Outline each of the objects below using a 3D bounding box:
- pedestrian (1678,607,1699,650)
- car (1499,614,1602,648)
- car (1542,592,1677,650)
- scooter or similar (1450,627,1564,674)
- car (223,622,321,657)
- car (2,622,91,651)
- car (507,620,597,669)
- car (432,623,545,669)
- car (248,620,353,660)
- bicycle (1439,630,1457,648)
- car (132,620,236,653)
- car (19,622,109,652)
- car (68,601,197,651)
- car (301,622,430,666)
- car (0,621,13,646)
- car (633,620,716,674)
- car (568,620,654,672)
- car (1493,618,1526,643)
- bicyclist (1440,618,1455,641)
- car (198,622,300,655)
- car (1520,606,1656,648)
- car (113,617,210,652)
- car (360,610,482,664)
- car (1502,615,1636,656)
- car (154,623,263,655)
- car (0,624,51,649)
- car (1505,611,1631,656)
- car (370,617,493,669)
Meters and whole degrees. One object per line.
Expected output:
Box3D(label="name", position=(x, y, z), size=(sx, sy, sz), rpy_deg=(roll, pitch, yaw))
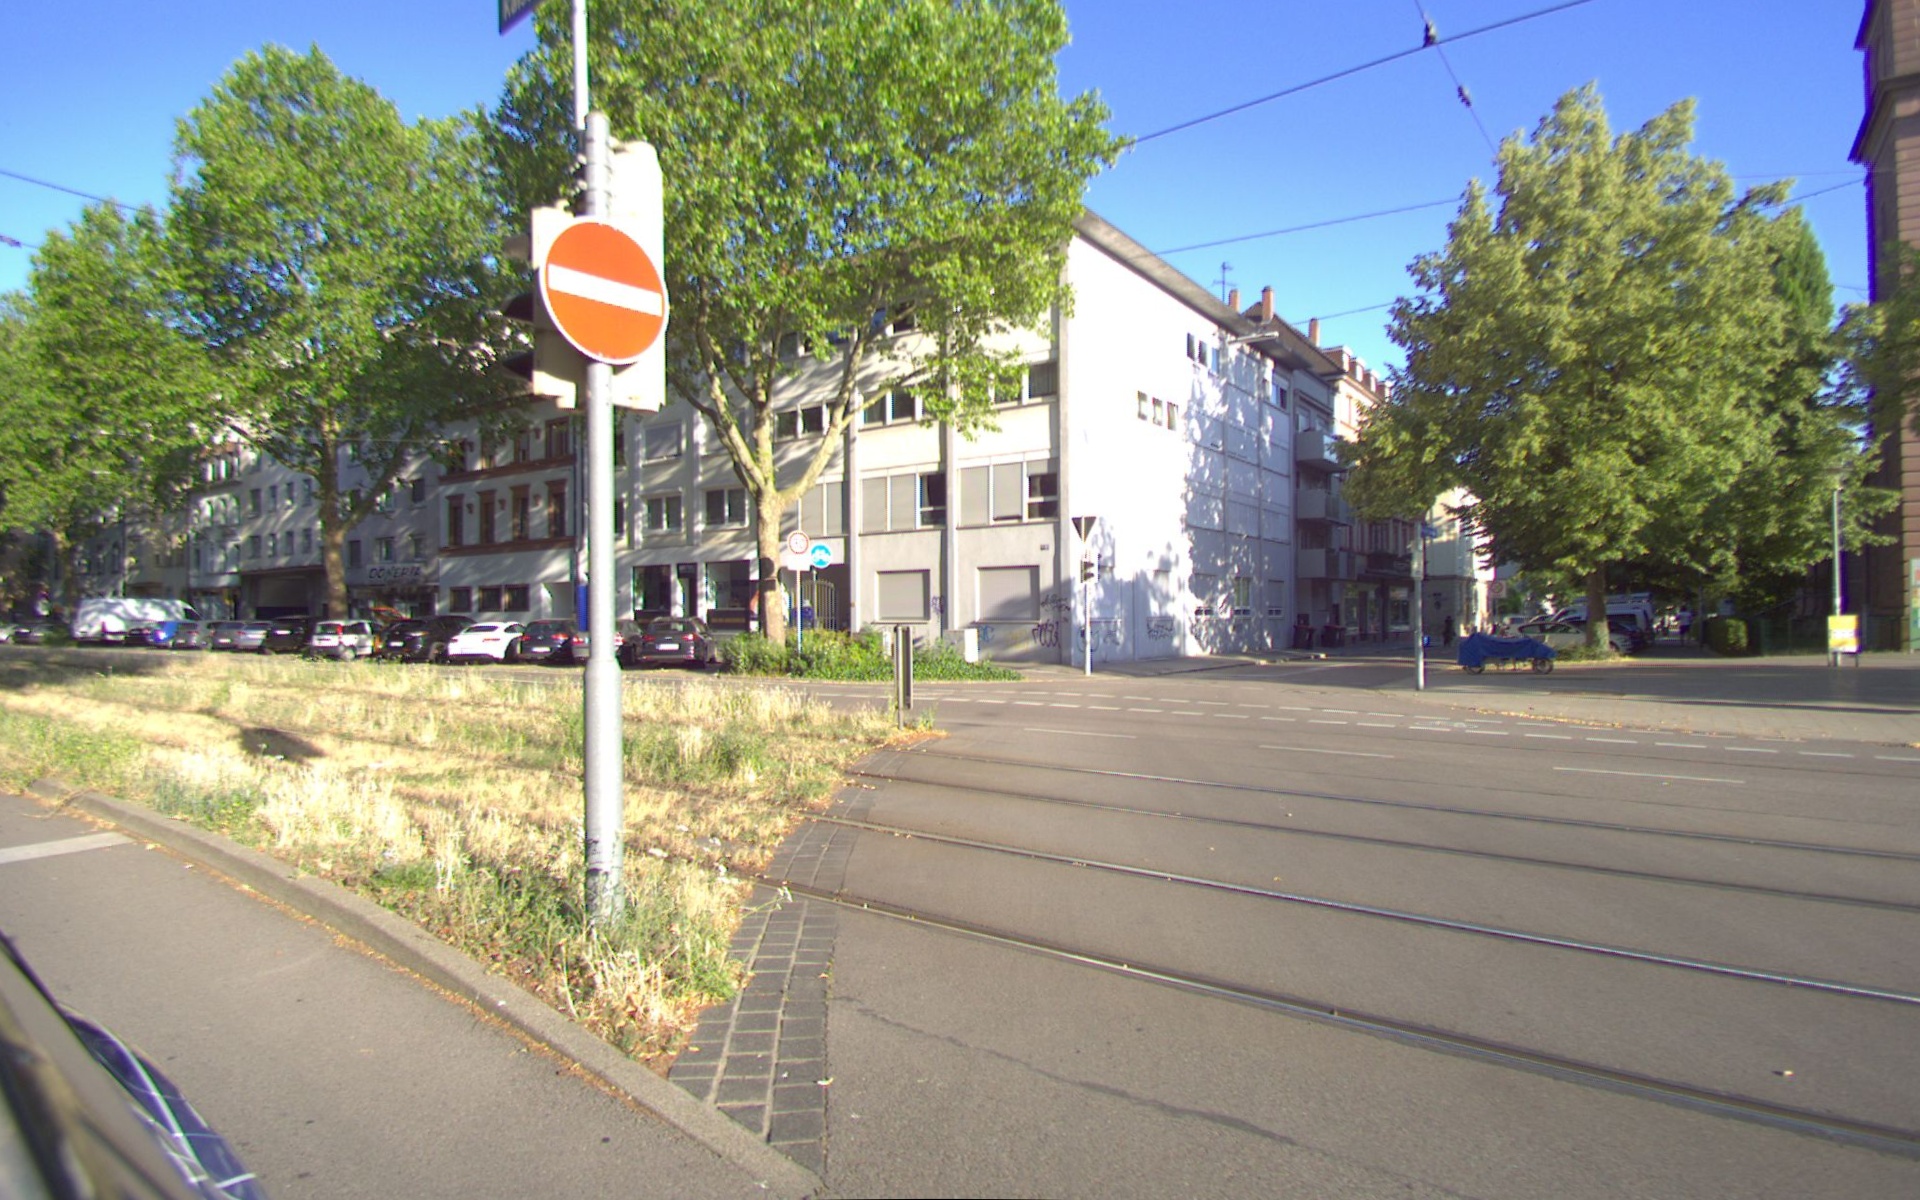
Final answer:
Box3D(label="pedestrian", position=(30.482, 1.187, 42.355), size=(0.691, 1.779, 0.730), rpy_deg=(-1, -1, 35))
Box3D(label="car", position=(36.798, 1.918, 63.143), size=(5.411, 2.029, 1.977), rpy_deg=(-1, -1, 35))
Box3D(label="car", position=(29.904, 0.978, 46.650), size=(5.104, 2.537, 1.975), rpy_deg=(-1, -1, 37))
Box3D(label="scooter or similar", position=(14.340, 1.332, 26.560), size=(2.443, 1.135, 1.083), rpy_deg=(-4, -3, 36))
Box3D(label="car", position=(-31.096, 1.754, 45.883), size=(1.580, 1.470, 4.257), rpy_deg=(0, -1, 0))
Box3D(label="car", position=(-59.828, 2.376, 66.336), size=(1.977, 1.829, 3.989), rpy_deg=(-1, -1, 9))
Box3D(label="car", position=(-13.386, 1.425, 33.437), size=(1.803, 1.515, 3.977), rpy_deg=(0, -1, -7))
Box3D(label="car", position=(-15.779, 1.502, 34.134), size=(2.120, 1.388, 4.262), rpy_deg=(0, -1, -5))
Box3D(label="car", position=(-28.295, 1.663, 43.585), size=(1.879, 1.626, 4.260), rpy_deg=(0, -1, -3))
Box3D(label="bicycle", position=(29.198, 2.318, 60.527), size=(0.631, 0.988, 1.965), rpy_deg=(-1, -1, 36))
Box3D(label="car", position=(-39.762, 1.847, 51.951), size=(1.977, 1.630, 3.989), rpy_deg=(-1, -1, 9))
Box3D(label="car", position=(-57.084, 2.320, 64.562), size=(1.977, 1.829, 3.989), rpy_deg=(-1, -1, 9))
Box3D(label="car", position=(-47.057, 1.459, 57.744), size=(2.157, 2.721, 5.592), rpy_deg=(-1, -1, 11))
Box3D(label="car", position=(-22.654, 1.627, 38.741), size=(1.631, 1.569, 4.229), rpy_deg=(-1, -1, 20))
Box3D(label="car", position=(-69.562, 2.365, 71.032), size=(1.993, 1.719, 4.190), rpy_deg=(-1, -1, 32))
Box3D(label="car", position=(-8.215, 1.316, 29.442), size=(1.745, 1.442, 3.977), rpy_deg=(0, -1, -7))
Box3D(label="car", position=(-10.707, 1.381, 31.326), size=(1.715, 1.443, 3.977), rpy_deg=(-2, -1, -7))
Box3D(label="car", position=(46.913, 2.557, 86.507), size=(1.988, 2.029, 5.380), rpy_deg=(-1, -1, 24))
Box3D(label="bicyclist", position=(29.167, 1.777, 60.508), size=(0.631, 1.341, 0.957), rpy_deg=(-1, -1, 36))
Box3D(label="car", position=(-33.609, 1.791, 47.994), size=(1.881, 1.468, 4.257), rpy_deg=(0, -1, 0))
Box3D(label="car", position=(26.309, 1.139, 42.466), size=(4.700, 1.674, 1.976), rpy_deg=(-1, -1, 36))
Box3D(label="car", position=(-44.529, 1.896, 56.559), size=(1.977, 1.829, 3.989), rpy_deg=(-1, -1, 9))
Box3D(label="car", position=(-20.651, 1.390, 38.988), size=(1.505, 1.958, 4.229), rpy_deg=(-1, -1, 20))
Box3D(label="car", position=(21.962, 1.278, 36.562), size=(3.992, 1.409, 1.795), rpy_deg=(-2, -2, 37))
Box3D(label="car", position=(-37.184, 1.900, 50.187), size=(1.982, 1.529, 3.980), rpy_deg=(-1, -1, 15))
Box3D(label="car", position=(-66.818, 2.576, 71.152), size=(1.977, 1.719, 3.989), rpy_deg=(-1, -1, 9))
Box3D(label="car", position=(23.273, 1.275, 38.769), size=(3.992, 1.630, 1.868), rpy_deg=(-1, -1, 37))
Box3D(label="car", position=(-18.637, 1.476, 35.928), size=(2.123, 1.697, 4.256), rpy_deg=(0, -1, 1))
